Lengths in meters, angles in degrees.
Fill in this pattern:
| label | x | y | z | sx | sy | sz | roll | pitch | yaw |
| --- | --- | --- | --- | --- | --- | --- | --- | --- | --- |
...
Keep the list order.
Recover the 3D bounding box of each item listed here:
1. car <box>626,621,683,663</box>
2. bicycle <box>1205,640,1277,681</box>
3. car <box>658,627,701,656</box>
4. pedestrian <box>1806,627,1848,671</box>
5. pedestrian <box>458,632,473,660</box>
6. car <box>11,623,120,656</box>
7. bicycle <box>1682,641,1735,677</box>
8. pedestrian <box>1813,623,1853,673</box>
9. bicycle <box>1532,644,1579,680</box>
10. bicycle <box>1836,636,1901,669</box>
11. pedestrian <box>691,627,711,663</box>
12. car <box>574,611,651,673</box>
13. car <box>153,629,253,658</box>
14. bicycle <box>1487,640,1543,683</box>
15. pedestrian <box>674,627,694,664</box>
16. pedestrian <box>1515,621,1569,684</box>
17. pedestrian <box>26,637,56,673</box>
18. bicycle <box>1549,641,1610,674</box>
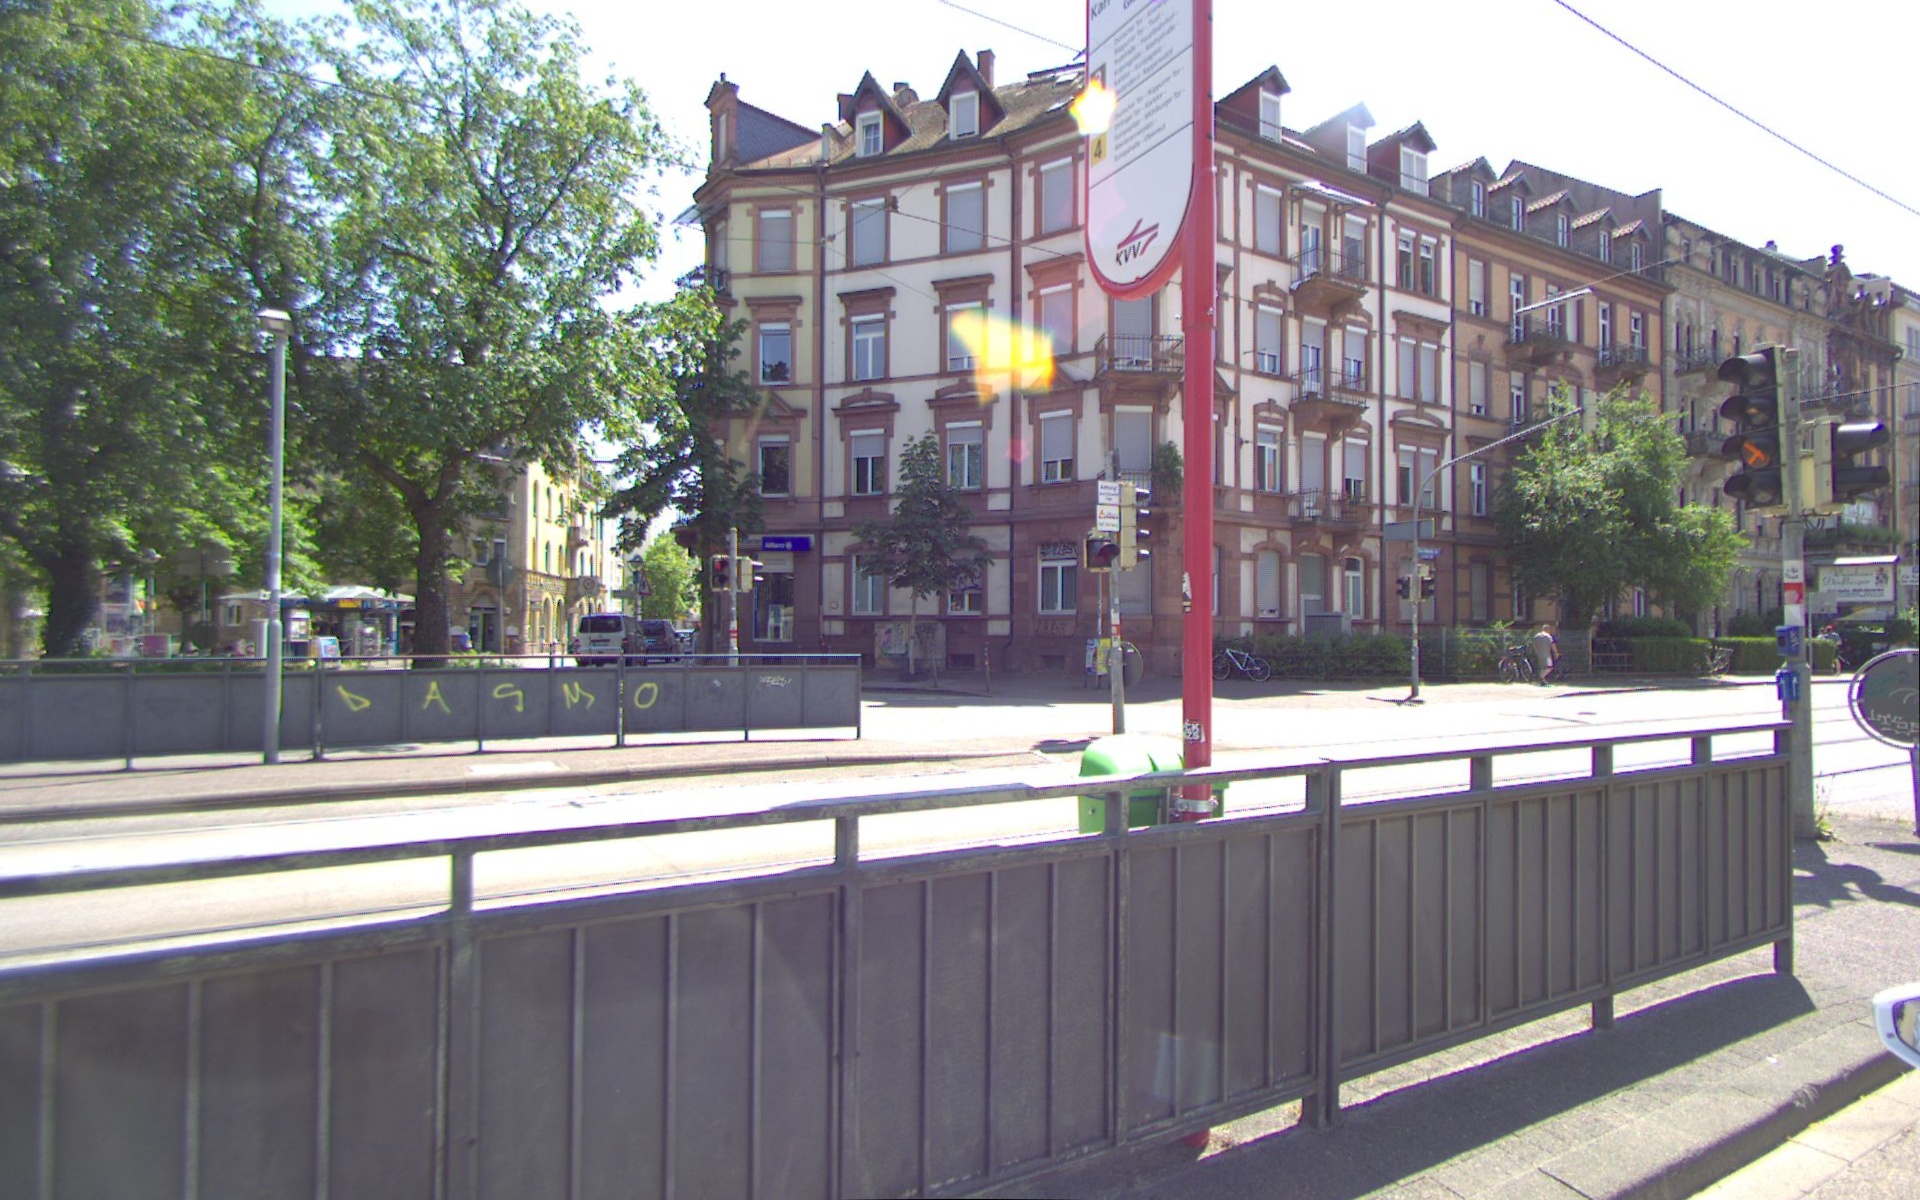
| label | x | y | z | sx | sy | sz | roll | pitch | yaw |
| --- | --- | --- | --- | --- | --- | --- | --- | --- | --- |
| car | -14.032 | 1.906 | 46.298 | 1.964 | 1.833 | 4.581 | 1 | -2 | -10 |
| bicycle | 7.800 | 1.676 | 27.964 | 1.885 | 1.122 | 0.467 | 0 | -2 | 8 |
| car | -15.956 | 2.356 | 57.335 | 1.964 | 1.584 | 4.581 | 1 | -2 | -10 |
| pedestrian | 34.000 | 1.920 | 39.394 | 0.808 | 1.722 | 0.911 | 0 | -2 | -3 |
| pedestrian | -27.834 | 2.576 | 56.560 | 0.539 | 1.577 | 0.501 | 0 | -1 | 15 |
| car | -47.625 | 2.091 | 53.567 | 3.929 | 1.720 | 1.808 | 1 | -2 | -11 |
| bicycle | 24.639 | 1.930 | 33.056 | 1.906 | 1.108 | 0.636 | 1 | 0 | -27 |
| pedestrian | 33.401 | 1.840 | 38.457 | 0.800 | 1.881 | 0.879 | 0 | -2 | 12 |
| bicycle | 17.767 | 1.841 | 29.955 | 1.544 | 1.070 | 0.457 | 1 | -2 | -27 |
| bicycle | 37.036 | 2.129 | 40.966 | 0.562 | 1.244 | 1.860 | 1 | 0 | -32 |
| pedestrian | -11.541 | 1.999 | 44.767 | 0.729 | 1.625 | 0.761 | 1 | -1 | -6 |
| car | -12.516 | 1.509 | 36.452 | 1.964 | 2.094 | 4.581 | 1 | -2 | -10 |
| car | -41.016 | 2.339 | 54.523 | 3.929 | 1.520 | 1.691 | 1 | -2 | -11 |
| bicycle | 15.947 | 1.759 | 28.850 | 1.694 | 1.184 | 0.571 | 1 | -2 | -27 |
| pedestrian | -12.289 | 2.007 | 44.702 | 0.729 | 1.625 | 0.761 | 1 | -1 | -6 |
| pedestrian | 16.270 | 1.469 | 28.094 | 0.999 | 1.722 | 0.870 | 1 | -2 | -24 |
| pedestrian | -35.145 | 2.097 | 38.432 | 0.594 | 1.367 | 0.700 | 0 | -2 | -19 |
| bicycle | 19.767 | 1.838 | 32.090 | 0.489 | 1.009 | 1.640 | 1 | -2 | -28 |
